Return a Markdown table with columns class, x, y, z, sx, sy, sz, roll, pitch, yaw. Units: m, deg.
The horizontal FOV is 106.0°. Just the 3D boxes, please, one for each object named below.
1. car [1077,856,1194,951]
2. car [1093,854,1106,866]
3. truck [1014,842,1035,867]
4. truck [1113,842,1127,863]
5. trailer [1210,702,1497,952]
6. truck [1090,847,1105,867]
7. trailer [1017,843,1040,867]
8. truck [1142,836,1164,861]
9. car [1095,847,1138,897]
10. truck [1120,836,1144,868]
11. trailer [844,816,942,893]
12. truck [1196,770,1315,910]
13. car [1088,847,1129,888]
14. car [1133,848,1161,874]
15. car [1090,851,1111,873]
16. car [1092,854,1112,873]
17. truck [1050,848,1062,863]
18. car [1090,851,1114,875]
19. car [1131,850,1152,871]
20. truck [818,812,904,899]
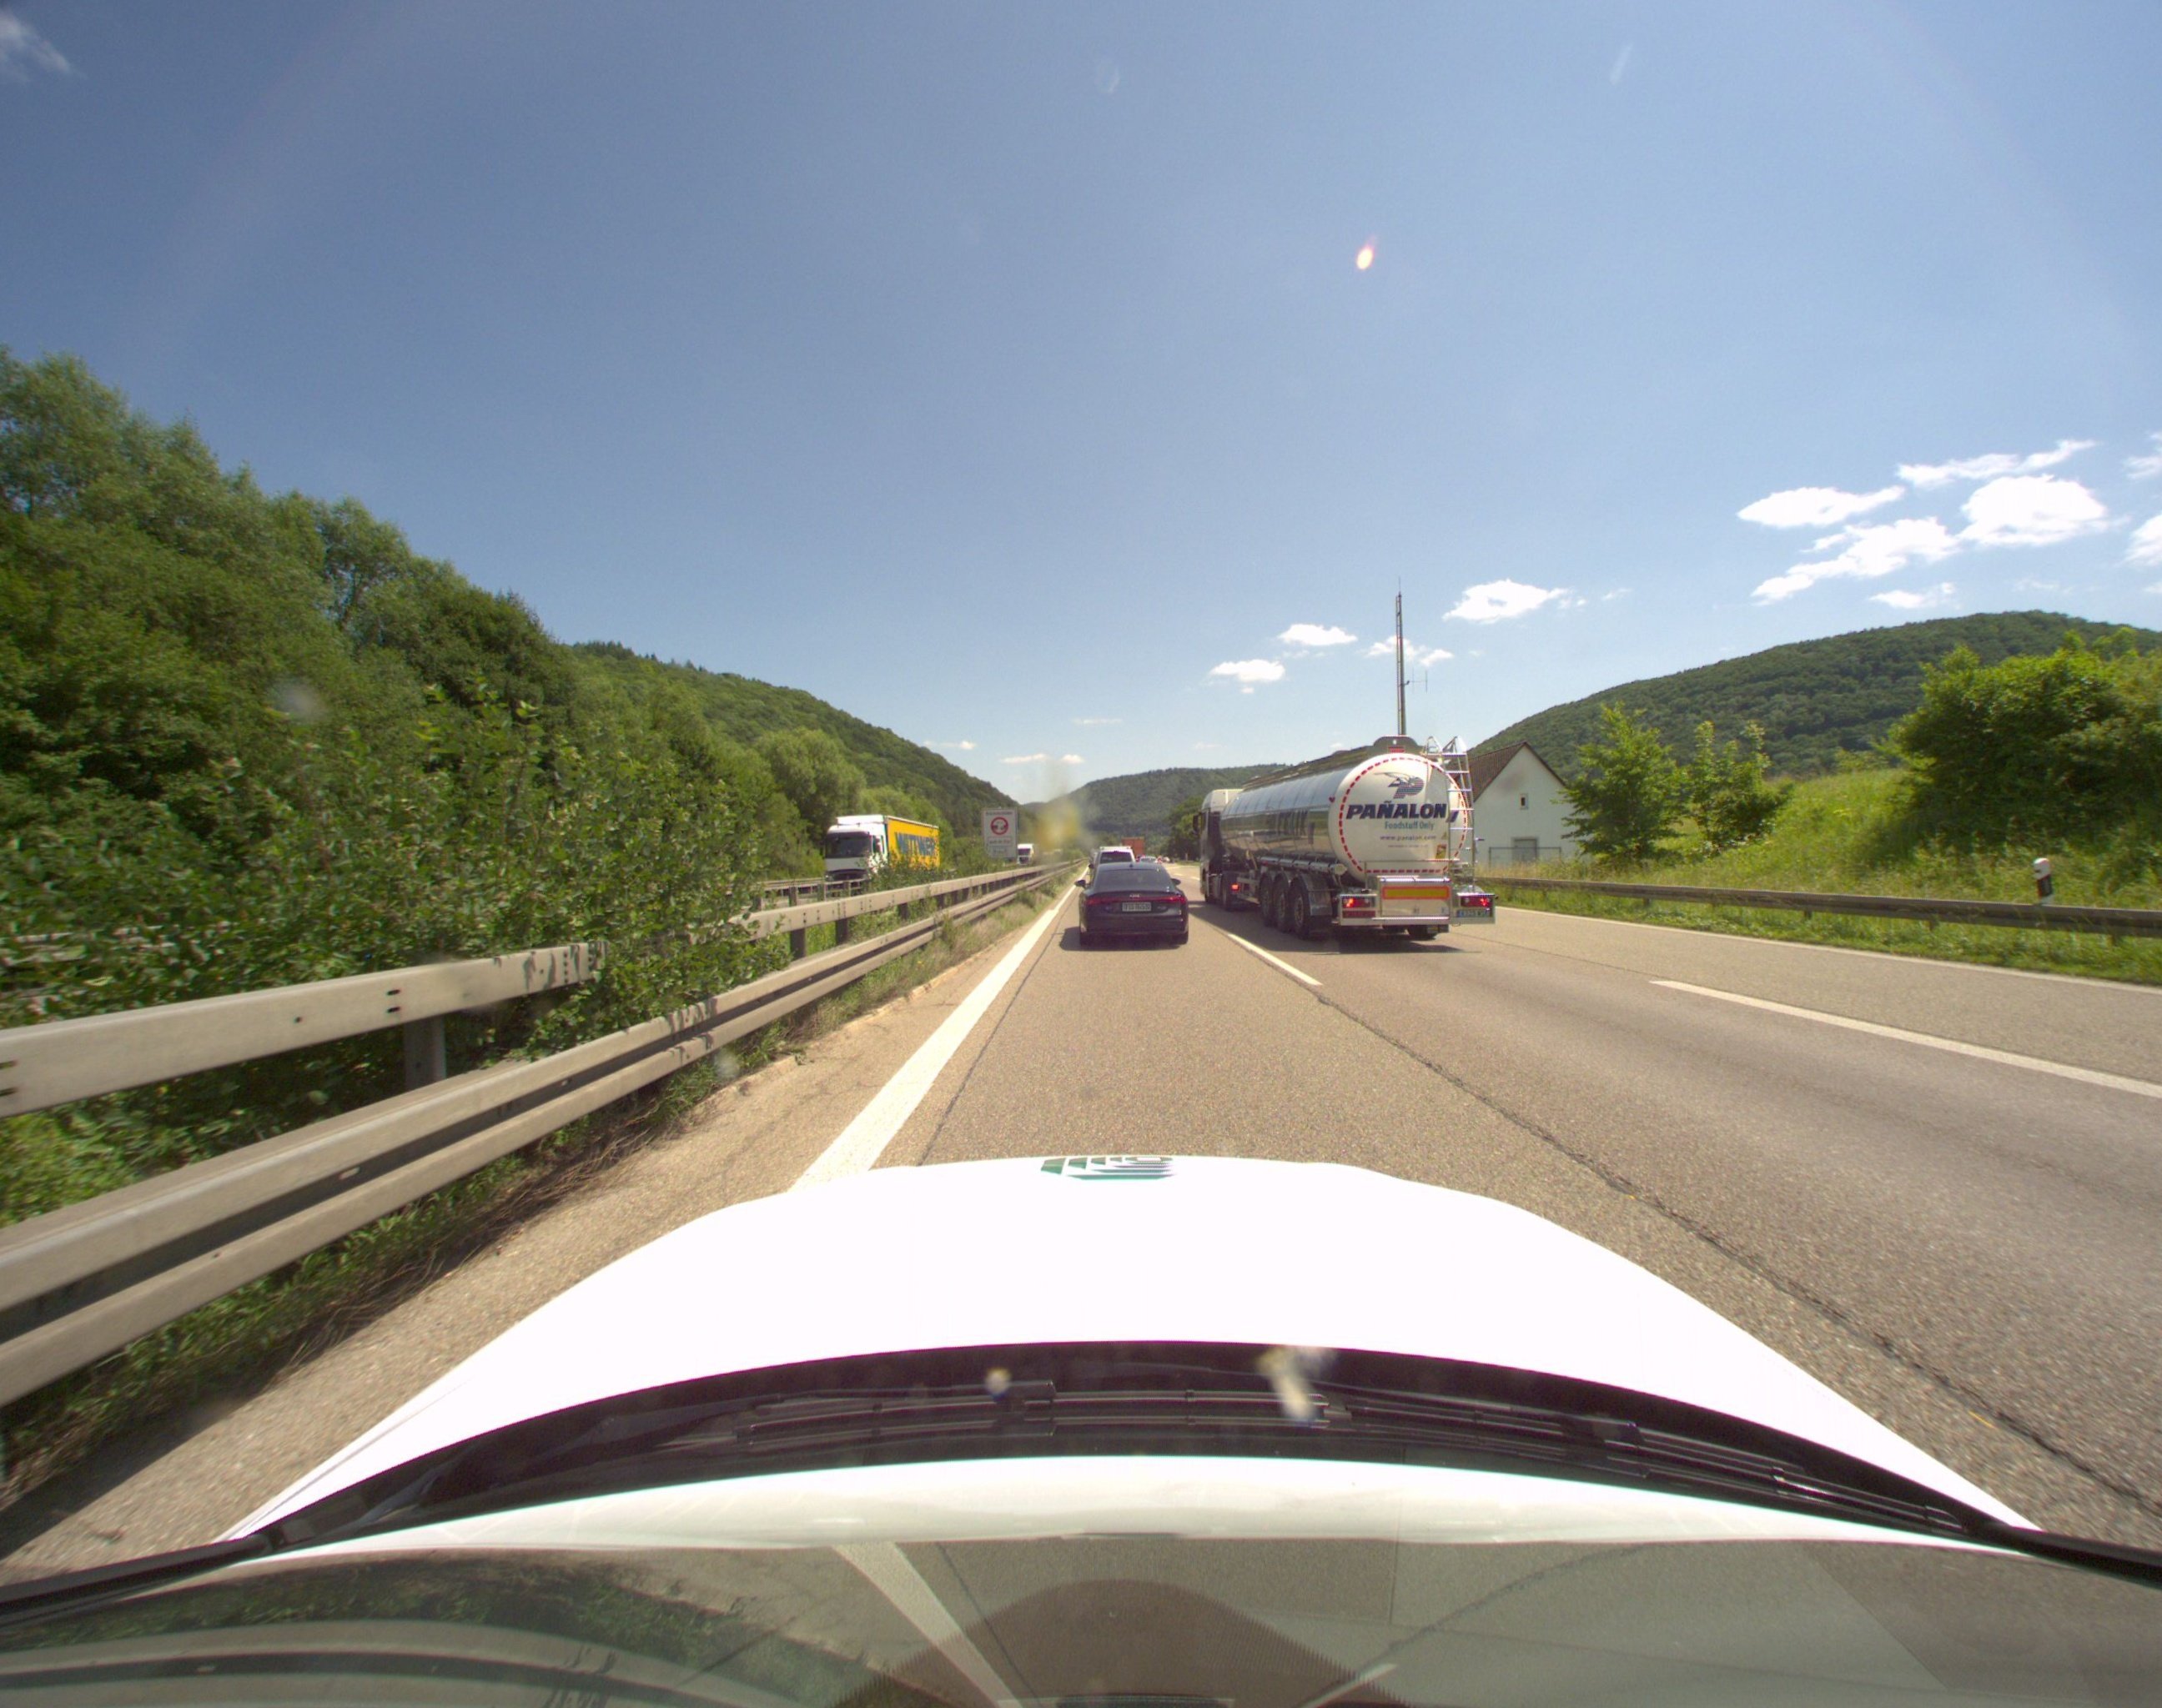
| class | x | y | z | sx | sy | sz | roll | pitch | yaw |
| --- | --- | --- | --- | --- | --- | --- | --- | --- | --- |
| car | 0.865 | 0.801 | 15.106 | 1.844 | 1.488 | 4.081 | -1 | 0 | -1 |
| car | 2.662 | 0.792 | 115.587 | 1.705 | 1.618 | 4.002 | -2 | 0 | 2 |
| truck | -9.278 | 0.136 | 134.514 | 2.718 | 4.001 | 5.371 | -2 | 0 | 1 |
| truck | 6.645 | -0.219 | 140.097 | 1.986 | 3.447 | 11.814 | -1 | 0 | 1 |
| trailer | 5.053 | -0.389 | 18.217 | 2.529 | 3.735 | 11.891 | -1 | 0 | 1 |
| truck | 3.106 | 0.606 | 148.774 | 2.619 | 3.440 | 11.424 | -2 | 0 | 2 |
| trailer | -9.080 | 0.147 | 142.392 | 2.772 | 3.999 | 14.163 | -2 | 0 | 1 |
| truck | 11.986 | -0.846 | 136.419 | 2.807 | 4.003 | 14.962 | -1 | 0 | 2 |
| car | 1.350 | 0.666 | 32.199 | 1.570 | 1.833 | 4.001 | -1 | 0 | 1 |
| truck | 6.828 | -0.212 | 110.450 | 2.807 | 4.003 | 14.962 | -1 | 0 | 2 |
| trailer | -10.924 | 0.063 | 48.993 | 2.571 | 4.005 | 12.605 | -1 | 0 | 2 |
| truck | 5.113 | -0.372 | 24.741 | 2.503 | 3.758 | 5.245 | -1 | 0 | 0 |
| car | 1.398 | 0.676 | 42.228 | 1.986 | 2.014 | 4.001 | -1 | 0 | 1 |
| car | 5.384 | 0.537 | 66.608 | 1.986 | 2.013 | 4.001 | -2 | 0 | 1 |
| car | 1.896 | 0.798 | 80.469 | 1.987 | 2.013 | 4.000 | -2 | 0 | 1 |
| car | 2.006 | 0.875 | 76.844 | 1.705 | 1.618 | 4.002 | -2 | 0 | 2 |
| truck | -6.923 | 0.438 | 223.712 | 2.859 | 4.006 | 10.171 | -1 | 0 | 1 |
| car | 1.810 | 0.760 | 70.646 | 1.987 | 2.013 | 4.000 | -2 | 0 | 1 |
| car | 6.058 | 0.655 | 81.776 | 1.986 | 2.002 | 4.002 | -2 | 0 | 2 |
| truck | -11.175 | 0.070 | 41.930 | 2.538 | 4.090 | 5.852 | -2 | 0 | 2 |
